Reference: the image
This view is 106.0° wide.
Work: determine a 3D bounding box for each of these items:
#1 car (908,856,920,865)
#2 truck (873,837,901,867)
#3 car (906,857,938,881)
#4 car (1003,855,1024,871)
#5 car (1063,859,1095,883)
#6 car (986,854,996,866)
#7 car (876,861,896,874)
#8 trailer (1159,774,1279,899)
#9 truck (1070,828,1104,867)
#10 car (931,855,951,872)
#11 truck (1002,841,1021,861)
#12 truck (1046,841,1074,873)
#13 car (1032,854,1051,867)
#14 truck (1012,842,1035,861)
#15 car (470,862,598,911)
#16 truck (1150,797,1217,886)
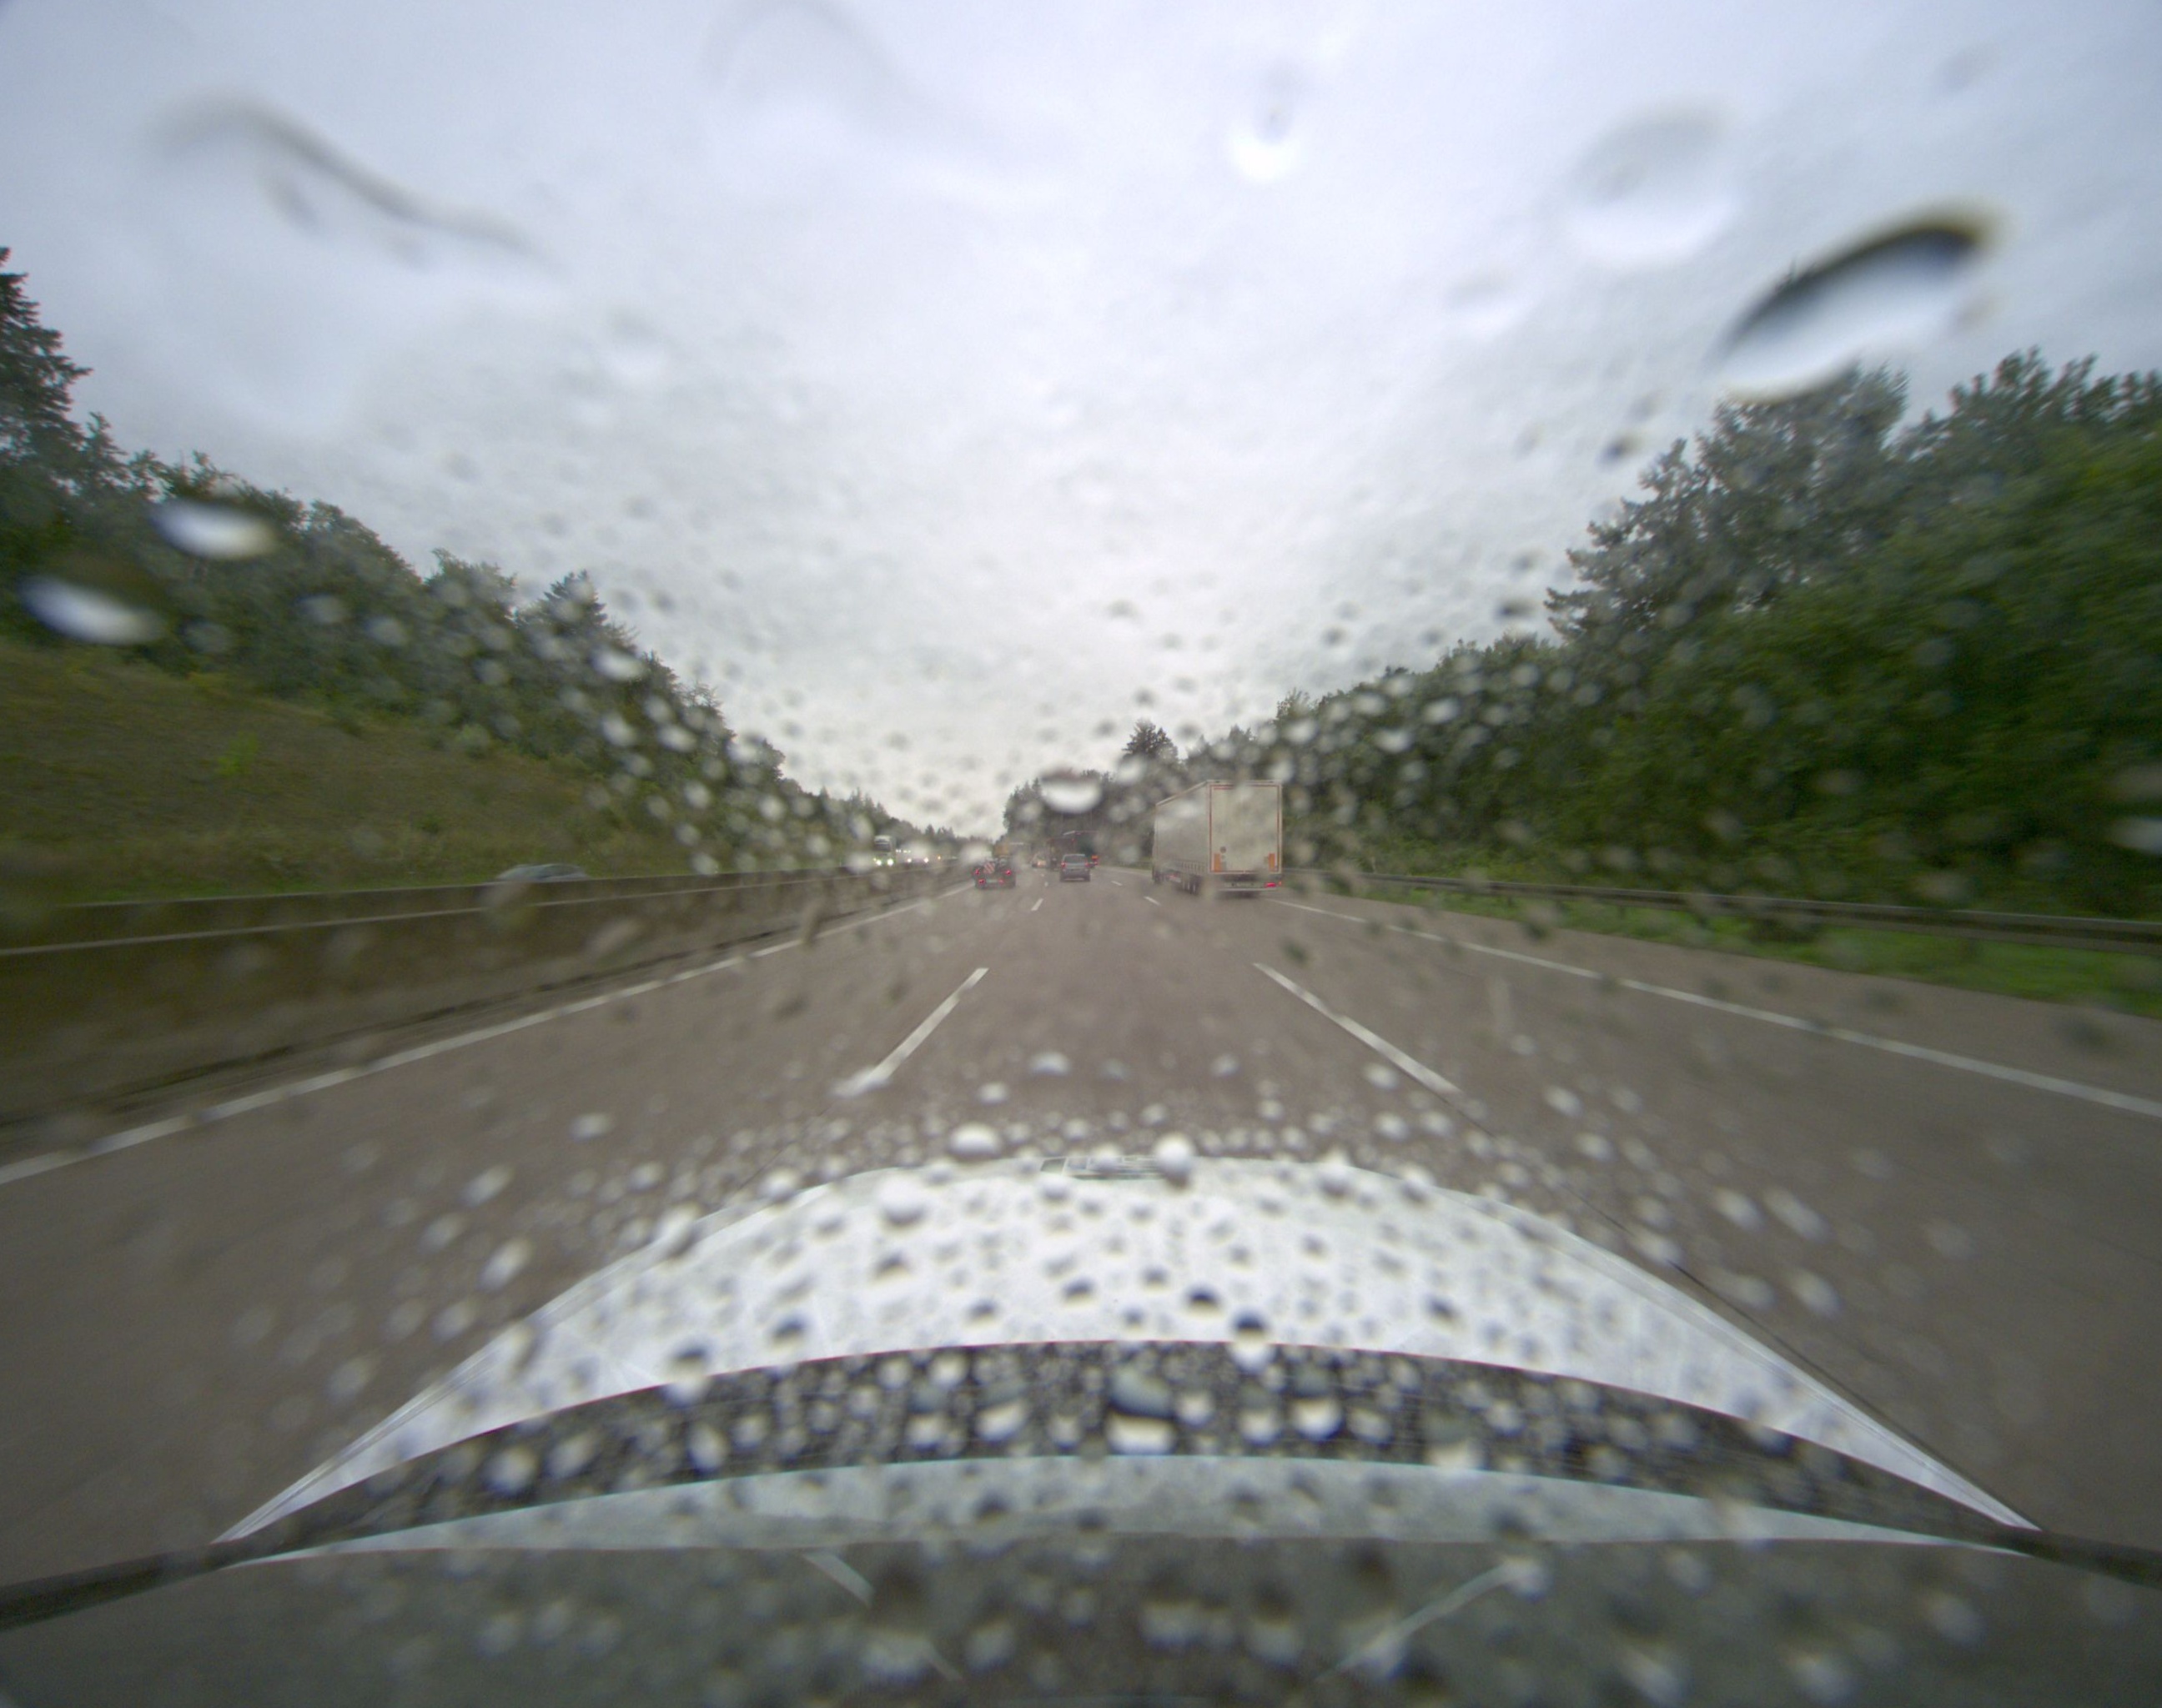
[{"bbox_3d":[-27.343,1.098,133.562,1.620,1.393,3.991,-1,0,-6],"label":"car"},{"bbox_3d":[-28.533,-0.250,119.921,2.741,4.284,8.299,-1,0,-5],"label":"truck"},{"bbox_3d":[-14.702,1.351,75.557,1.988,2.082,5.328,-1,0,-2],"label":"car"},{"bbox_3d":[-6.235,0.833,75.569,1.679,1.462,3.681,0,0,-2],"label":"car"},{"bbox_3d":[-0.080,0.982,48.296,1.546,1.351,3.688,0,0,5],"label":"car"},{"bbox_3d":[-15.861,1.125,143.615,1.724,2.014,3.647,-2,-1,-7],"label":"car"},{"bbox_3d":[-22.958,1.602,96.054,1.619,1.393,3.993,-1,0,-5],"label":"car"},{"bbox_3d":[5.119,-0.595,32.831,2.413,4.068,12.046,-1,0,-2],"label":"trailer"},{"bbox_3d":[0.560,-0.687,92.718,3.361,4.131,10.427,-1,0,-3],"label":"truck"},{"bbox_3d":[-18.333,1.238,106.938,1.989,2.082,5.326,-1,0,-3],"label":"car"},{"bbox_3d":[-15.723,-0.666,183.633,3.737,4.210,6.800,-2,-1,-7],"label":"truck"},{"bbox_3d":[-2.094,0.253,78.302,2.265,2.886,7.890,-1,1,-4],"label":"truck"},{"bbox_3d":[-4.508,0.749,92.931,1.875,1.473,4.000,0,0,0],"label":"car"},{"bbox_3d":[-9.177,-0.392,129.117,3.082,2.905,7.879,-1,1,-9],"label":"truck"},{"bbox_3d":[-20.056,1.133,30.113,1.771,1.638,4.253,-1,0,0],"label":"car"},{"bbox_3d":[4.919,-0.578,39.858,2.413,4.068,4.974,-1,0,-2],"label":"truck"}]
